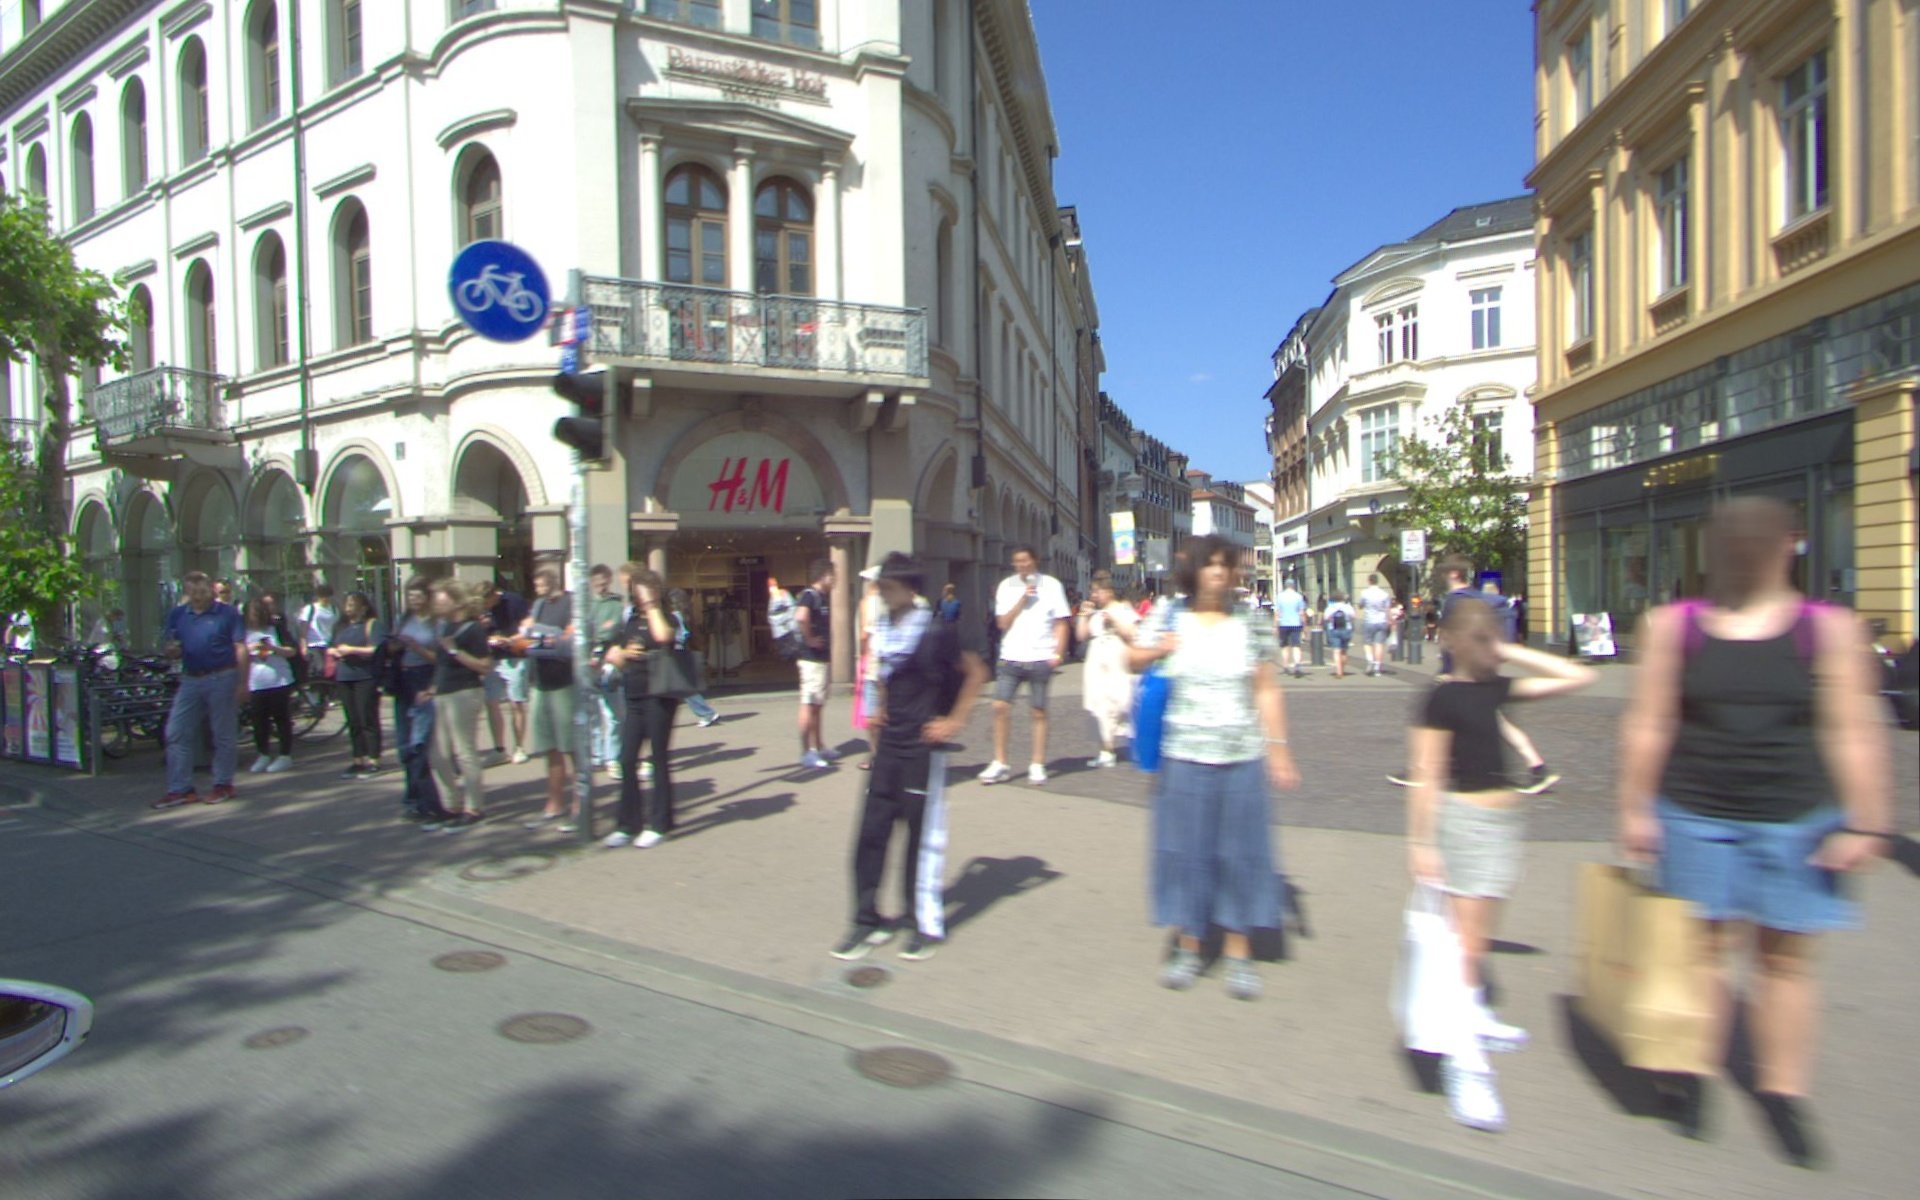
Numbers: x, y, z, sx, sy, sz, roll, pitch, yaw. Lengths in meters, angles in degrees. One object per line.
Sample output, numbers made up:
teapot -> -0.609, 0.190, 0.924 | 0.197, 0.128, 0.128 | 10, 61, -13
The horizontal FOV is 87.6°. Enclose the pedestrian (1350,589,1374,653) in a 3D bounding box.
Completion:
pedestrian -> 11.899, 0.623, 29.609 | 0.461, 1.869, 0.500 | 1, -1, -42

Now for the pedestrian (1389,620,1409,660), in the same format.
pedestrian -> 9.865, 0.906, 22.500 | 0.276, 0.889, 0.383 | 0, -1, 1

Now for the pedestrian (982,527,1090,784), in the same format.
pedestrian -> 0.599, 0.422, 7.806 | 0.612, 1.882, 0.684 | -1, -1, 28

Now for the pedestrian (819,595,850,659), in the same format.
pedestrian -> -2.904, 0.638, 23.203 | 0.610, 1.462, 0.578 | 0, -1, 6

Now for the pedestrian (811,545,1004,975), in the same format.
pedestrian -> -0.200, 0.636, 4.297 | 0.714, 1.707, 0.578 | 0, 2, 9

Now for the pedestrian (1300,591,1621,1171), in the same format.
pedestrian -> 1.526, 0.748, 3.092 | 0.629, 1.518, 0.667 | -4, 4, -36

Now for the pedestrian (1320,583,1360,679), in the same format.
pedestrian -> 7.179, 0.591, 18.913 | 0.613, 1.762, 0.575 | -1, -1, 32

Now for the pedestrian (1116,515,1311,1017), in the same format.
pedestrian -> 0.938, 0.581, 3.815 | 0.636, 1.760, 0.604 | -1, 3, 9

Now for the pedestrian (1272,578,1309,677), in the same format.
pedestrian -> 6.381, 0.533, 19.339 | 0.528, 1.869, 0.690 | -1, -1, 32

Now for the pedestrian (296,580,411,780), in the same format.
pedestrian -> -5.441, 0.701, 8.990 | 0.763, 1.706, 0.576 | -1, -1, 28

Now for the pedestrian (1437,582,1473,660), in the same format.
pedestrian -> 11.115, 0.470, 22.506 | 0.512, 1.724, 0.578 | 0, -1, 1

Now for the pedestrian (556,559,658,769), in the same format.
pedestrian -> -3.060, 0.545, 8.706 | 0.612, 1.746, 0.576 | -1, -1, 28

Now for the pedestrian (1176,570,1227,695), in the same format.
pedestrian -> 3.659, 0.493, 15.141 | 0.595, 1.833, 0.575 | -1, -1, 32

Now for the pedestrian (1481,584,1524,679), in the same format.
pedestrian -> 9.369, 0.543, 17.292 | 0.613, 1.609, 0.575 | -1, -1, 32

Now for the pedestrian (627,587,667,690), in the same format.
pedestrian -> -5.580, 0.684, 17.843 | 0.612, 1.787, 0.605 | 0, -1, -24

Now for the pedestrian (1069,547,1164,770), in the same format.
pedestrian -> 1.386, 0.502, 8.828 | 0.613, 1.869, 0.662 | -1, -1, 32

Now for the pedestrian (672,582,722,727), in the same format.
pedestrian -> -3.005, 0.617, 11.422 | 0.509, 1.604, 0.581 | 0, -1, -19

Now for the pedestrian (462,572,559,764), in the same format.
pedestrian -> -4.183, 0.621, 9.332 | 0.612, 1.706, 0.576 | -1, -1, 28

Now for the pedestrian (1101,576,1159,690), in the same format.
pedestrian -> 2.573, 0.504, 15.125 | 0.613, 1.668, 0.795 | -1, -1, 32

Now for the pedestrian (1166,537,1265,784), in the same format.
pedestrian -> 2.044, 0.470, 7.995 | 0.613, 1.869, 0.575 | -1, -1, 32

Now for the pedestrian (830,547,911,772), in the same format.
pedestrian -> -0.773, 0.495, 8.555 | 0.621, 1.840, 0.622 | 0, -1, -12

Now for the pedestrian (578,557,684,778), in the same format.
pedestrian -> -2.751, 0.549, 8.394 | 0.612, 1.762, 0.576 | -1, -1, 28

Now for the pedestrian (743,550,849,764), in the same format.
pedestrian -> -1.462, 0.501, 8.984 | 0.689, 1.827, 0.648 | -1, -1, 30

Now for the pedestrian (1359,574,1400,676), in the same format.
pedestrian -> 7.880, 0.466, 18.792 | 0.613, 1.869, 0.575 | -1, -1, 32

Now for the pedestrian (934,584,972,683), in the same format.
pedestrian -> -0.106, 0.531, 15.873 | 0.530, 1.531, 0.578 | 0, -1, 8

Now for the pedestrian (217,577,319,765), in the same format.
pedestrian -> -6.506, 0.652, 9.443 | 0.611, 1.706, 0.578 | 0, -1, -15

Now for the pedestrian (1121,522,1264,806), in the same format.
pedestrian -> 1.628, 0.439, 7.100 | 0.612, 1.869, 0.853 | 0, -1, -20

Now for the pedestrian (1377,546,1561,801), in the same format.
pedestrian -> 3.851, 0.533, 7.590 | 1.170, 1.780, 0.618 | -1, -1, 34

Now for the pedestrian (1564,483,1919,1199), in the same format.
pedestrian -> 2.146, 0.587, 2.756 | 0.707, 1.755, 0.576 | 1, 4, 24

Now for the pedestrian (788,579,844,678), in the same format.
pedestrian -> -2.574, 0.513, 17.925 | 0.694, 1.713, 0.708 | -1, -1, 33

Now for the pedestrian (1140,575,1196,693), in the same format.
pedestrian -> 3.230, 0.525, 15.531 | 0.689, 1.777, 0.575 | -1, -1, 32

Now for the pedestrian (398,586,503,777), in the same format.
pedestrian -> -4.488, 0.697, 8.834 | 0.612, 1.604, 0.576 | -1, -1, 28

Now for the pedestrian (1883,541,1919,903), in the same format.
pedestrian -> 4.636, 0.539, 4.569 | 0.527, 1.625, 0.511 | -1, 1, 32

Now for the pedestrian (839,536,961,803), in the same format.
pedestrian -> -0.432, 0.490, 7.268 | 0.686, 1.825, 0.576 | -1, -1, 28

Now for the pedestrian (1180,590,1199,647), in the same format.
pedestrian -> 6.950, 0.561, 30.354 | 0.458, 1.724, 0.530 | 0, -1, 1
